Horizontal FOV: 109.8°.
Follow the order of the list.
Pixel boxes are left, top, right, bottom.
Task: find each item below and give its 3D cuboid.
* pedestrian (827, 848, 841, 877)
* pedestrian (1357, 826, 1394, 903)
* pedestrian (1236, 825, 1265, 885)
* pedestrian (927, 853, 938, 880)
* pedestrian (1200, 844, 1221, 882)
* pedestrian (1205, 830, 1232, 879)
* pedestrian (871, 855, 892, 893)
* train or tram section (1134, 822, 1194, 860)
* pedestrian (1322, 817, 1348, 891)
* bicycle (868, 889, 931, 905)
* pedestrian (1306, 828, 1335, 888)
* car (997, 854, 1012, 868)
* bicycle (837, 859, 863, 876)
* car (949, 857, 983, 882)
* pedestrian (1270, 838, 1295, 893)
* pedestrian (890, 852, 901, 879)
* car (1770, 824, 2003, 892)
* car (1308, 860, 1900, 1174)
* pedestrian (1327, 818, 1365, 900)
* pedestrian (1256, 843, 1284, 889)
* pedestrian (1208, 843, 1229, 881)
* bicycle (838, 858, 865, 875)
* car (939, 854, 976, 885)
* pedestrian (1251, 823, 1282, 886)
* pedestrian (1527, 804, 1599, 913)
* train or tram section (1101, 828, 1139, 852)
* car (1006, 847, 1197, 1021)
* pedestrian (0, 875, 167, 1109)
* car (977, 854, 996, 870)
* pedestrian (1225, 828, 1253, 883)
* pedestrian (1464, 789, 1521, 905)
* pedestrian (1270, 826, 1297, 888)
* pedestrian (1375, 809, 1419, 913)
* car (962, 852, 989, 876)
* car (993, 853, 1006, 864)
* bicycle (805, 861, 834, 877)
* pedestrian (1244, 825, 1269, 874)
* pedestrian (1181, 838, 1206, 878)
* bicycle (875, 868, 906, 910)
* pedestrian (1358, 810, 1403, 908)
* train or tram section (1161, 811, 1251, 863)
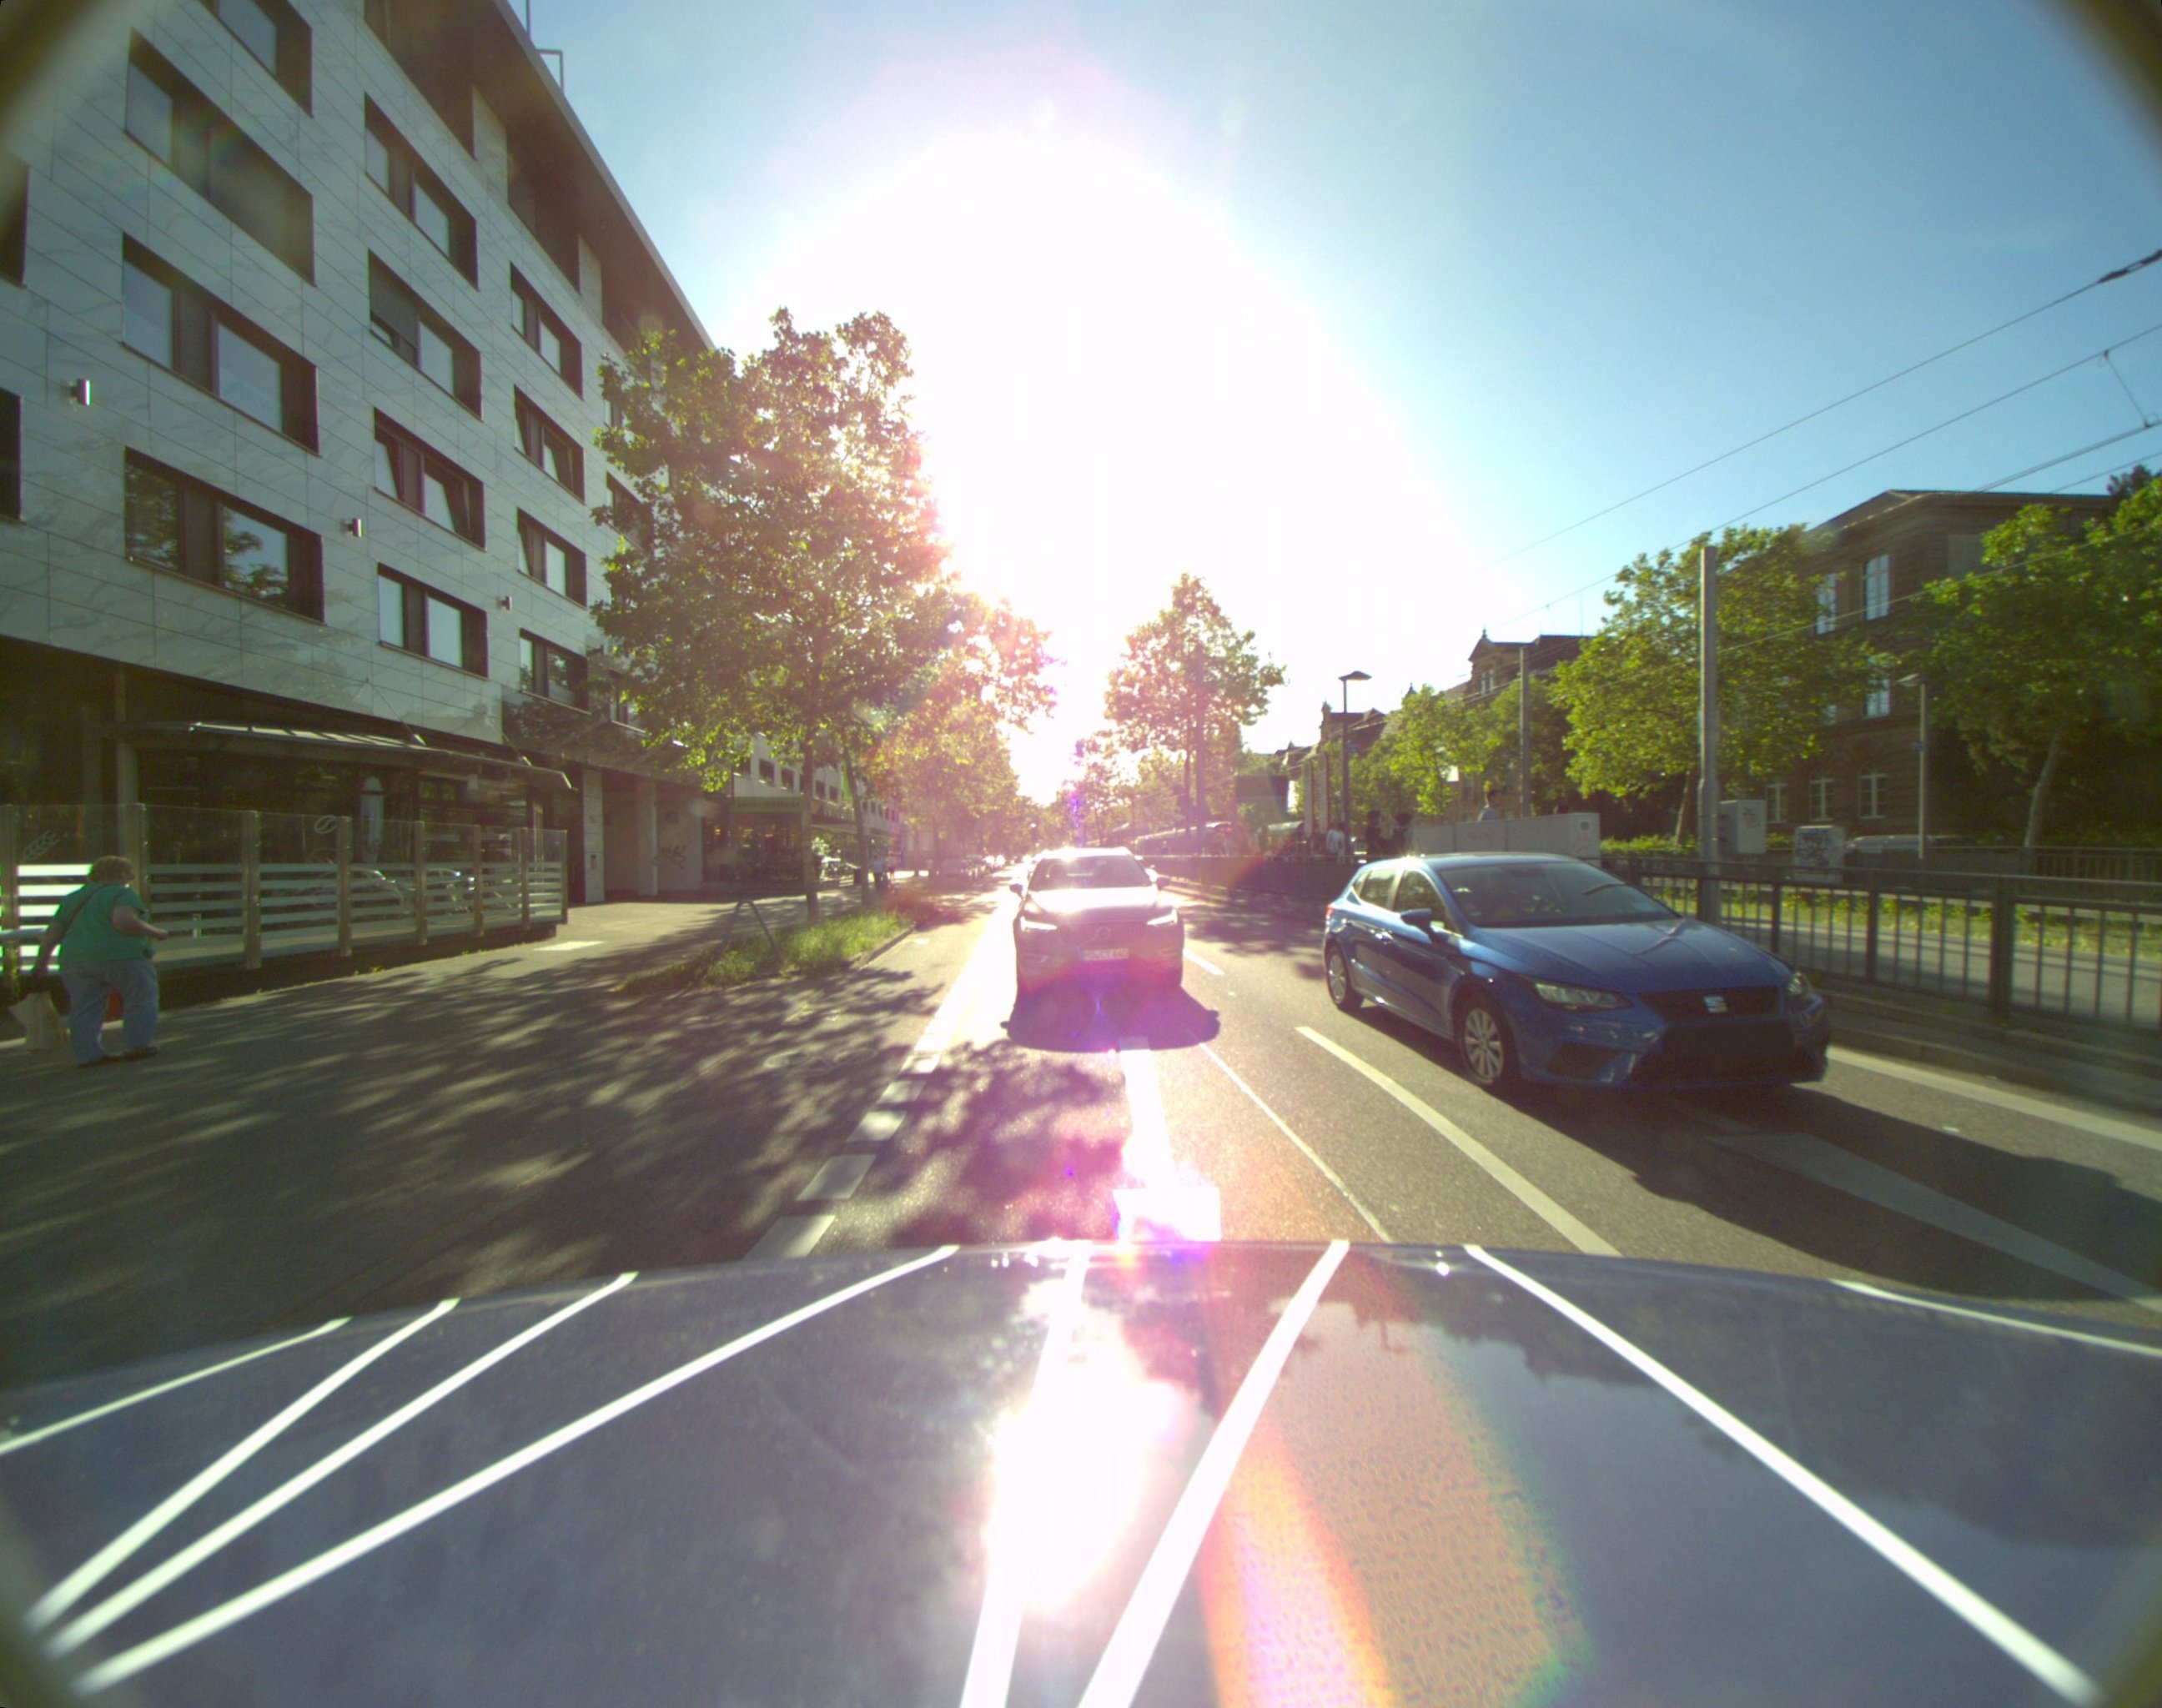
[{"bbox_3d":[-15.423,0.527,47.511,0.614,1.705,0.611,5,-1,-29],"label":"pedestrian"},{"bbox_3d":[6.921,0.240,17.864,0.555,1.760,0.611,-1,1,-8],"label":"pedestrian"},{"bbox_3d":[4.864,0.027,21.868,0.662,1.686,0.570,-1,1,-3],"label":"pedestrian"},{"bbox_3d":[-9.397,0.765,48.047,0.561,1.694,1.051,-1,1,-5],"label":"pedestrian"},{"bbox_3d":[4.471,0.290,26.309,0.535,1.292,0.604,-1,1,-8],"label":"pedestrian"},{"bbox_3d":[4.938,0.025,27.313,0.778,1.742,0.723,-1,1,-8],"label":"pedestrian"},{"bbox_3d":[-8.489,0.845,32.332,0.700,1.603,0.867,1,1,-2],"label":"pedestrian"},{"bbox_3d":[8.258,-1.223,79.266,2.879,3.414,18.267,-3,0,-4],"label":"train or tram section"},{"bbox_3d":[5.947,0.007,17.806,0.506,1.692,0.612,-1,1,23],"label":"pedestrian"},{"bbox_3d":[-5.418,1.292,22.781,1.613,0.351,1.388,-1,0,-4],"label":"bicycle"},{"bbox_3d":[6.162,0.096,19.545,0.546,1.510,0.530,-1,1,-5],"label":"pedestrian"},{"bbox_3d":[-8.437,0.770,84.099,1.630,1.433,3.928,0,0,-4],"label":"car"},{"bbox_3d":[-15.511,0.905,51.017,1.701,1.049,0.587,1,0,23],"label":"bicycle"},{"bbox_3d":[-7.286,0.959,48.483,1.766,1.410,4.698,-2,1,-5],"label":"car"},{"bbox_3d":[4.926,0.279,18.612,0.417,1.308,0.507,-1,1,-6],"label":"pedestrian"},{"bbox_3d":[-11.705,0.718,47.980,0.561,1.734,0.878,-1,1,-5],"label":"pedestrian"},{"bbox_3d":[22.686,0.053,21.694,1.999,1.652,4.226,-4,2,-5],"label":"car"},{"bbox_3d":[3.160,0.820,5.676,1.707,1.407,3.875,-3,1,0],"label":"car"},{"bbox_3d":[5.613,0.101,16.120,0.507,1.692,0.611,-1,1,-8],"label":"pedestrian"},{"bbox_3d":[4.944,0.300,19.898,0.546,1.185,0.530,-1,1,-5],"label":"pedestrian"},{"bbox_3d":[4.557,0.267,25.236,0.535,1.239,0.604,-1,1,-6],"label":"pedestrian"},{"bbox_3d":[-15.091,0.809,49.934,1.701,1.049,0.587,1,-1,23],"label":"bicycle"},{"bbox_3d":[-6.784,0.832,42.094,1.569,1.541,3.998,-2,1,-4],"label":"car"},{"bbox_3d":[5.070,0.015,20.773,0.662,1.686,0.570,-1,1,-3],"label":"pedestrian"},{"bbox_3d":[7.349,0.053,11.607,0.642,1.610,0.640,-1,3,-8],"label":"pedestrian"},{"bbox_3d":[4.468,-1.545,90.318,2.570,2.517,15.065,-2,0,-4],"label":"train or tram section"},{"bbox_3d":[0.060,0.791,9.935,1.914,1.695,4.271,-2,1,-4],"label":"car"},{"bbox_3d":[-7.540,0.967,5.694,0.740,1.566,0.830,-2,2,-43],"label":"pedestrian"},{"bbox_3d":[-9.161,0.777,74.092,1.678,1.430,3.688,1,1,-5],"label":"car"},{"bbox_3d":[4.751,0.046,22.840,0.662,1.624,0.570,-1,1,-3],"label":"pedestrian"},{"bbox_3d":[6.290,-0.103,11.627,0.549,1.724,0.539,-1,1,-8],"label":"pedestrian"},{"bbox_3d":[5.649,0.085,21.235,0.516,1.698,0.621,-1,1,-5],"label":"pedestrian"},{"bbox_3d":[5.399,0.123,12.977,0.538,1.724,0.550,0,1,37],"label":"pedestrian"},{"bbox_3d":[-8.082,0.763,58.608,1.769,1.781,4.391,-1,0,-4],"label":"car"},{"bbox_3d":[-12.365,0.731,115.481,1.840,1.556,4.271,-2,1,-4],"label":"car"},{"bbox_3d":[-15.703,0.880,45.693,1.648,0.911,0.587,1,-2,23],"label":"bicycle"},{"bbox_3d":[5.897,-0.154,25.494,0.620,1.640,0.622,-1,1,-8],"label":"pedestrian"},{"bbox_3d":[4.357,0.153,29.546,0.778,1.501,0.751,-1,1,-8],"label":"pedestrian"},{"bbox_3d":[-5.705,1.022,22.744,0.791,1.127,1.843,-1,1,-17],"label":"bicycle"},{"bbox_3d":[5.404,0.094,13.719,0.549,1.724,0.539,-1,1,-8],"label":"pedestrian"},{"bbox_3d":[9.530,-1.174,61.048,2.857,3.414,18.206,-3,0,-4],"label":"train or tram section"}]
